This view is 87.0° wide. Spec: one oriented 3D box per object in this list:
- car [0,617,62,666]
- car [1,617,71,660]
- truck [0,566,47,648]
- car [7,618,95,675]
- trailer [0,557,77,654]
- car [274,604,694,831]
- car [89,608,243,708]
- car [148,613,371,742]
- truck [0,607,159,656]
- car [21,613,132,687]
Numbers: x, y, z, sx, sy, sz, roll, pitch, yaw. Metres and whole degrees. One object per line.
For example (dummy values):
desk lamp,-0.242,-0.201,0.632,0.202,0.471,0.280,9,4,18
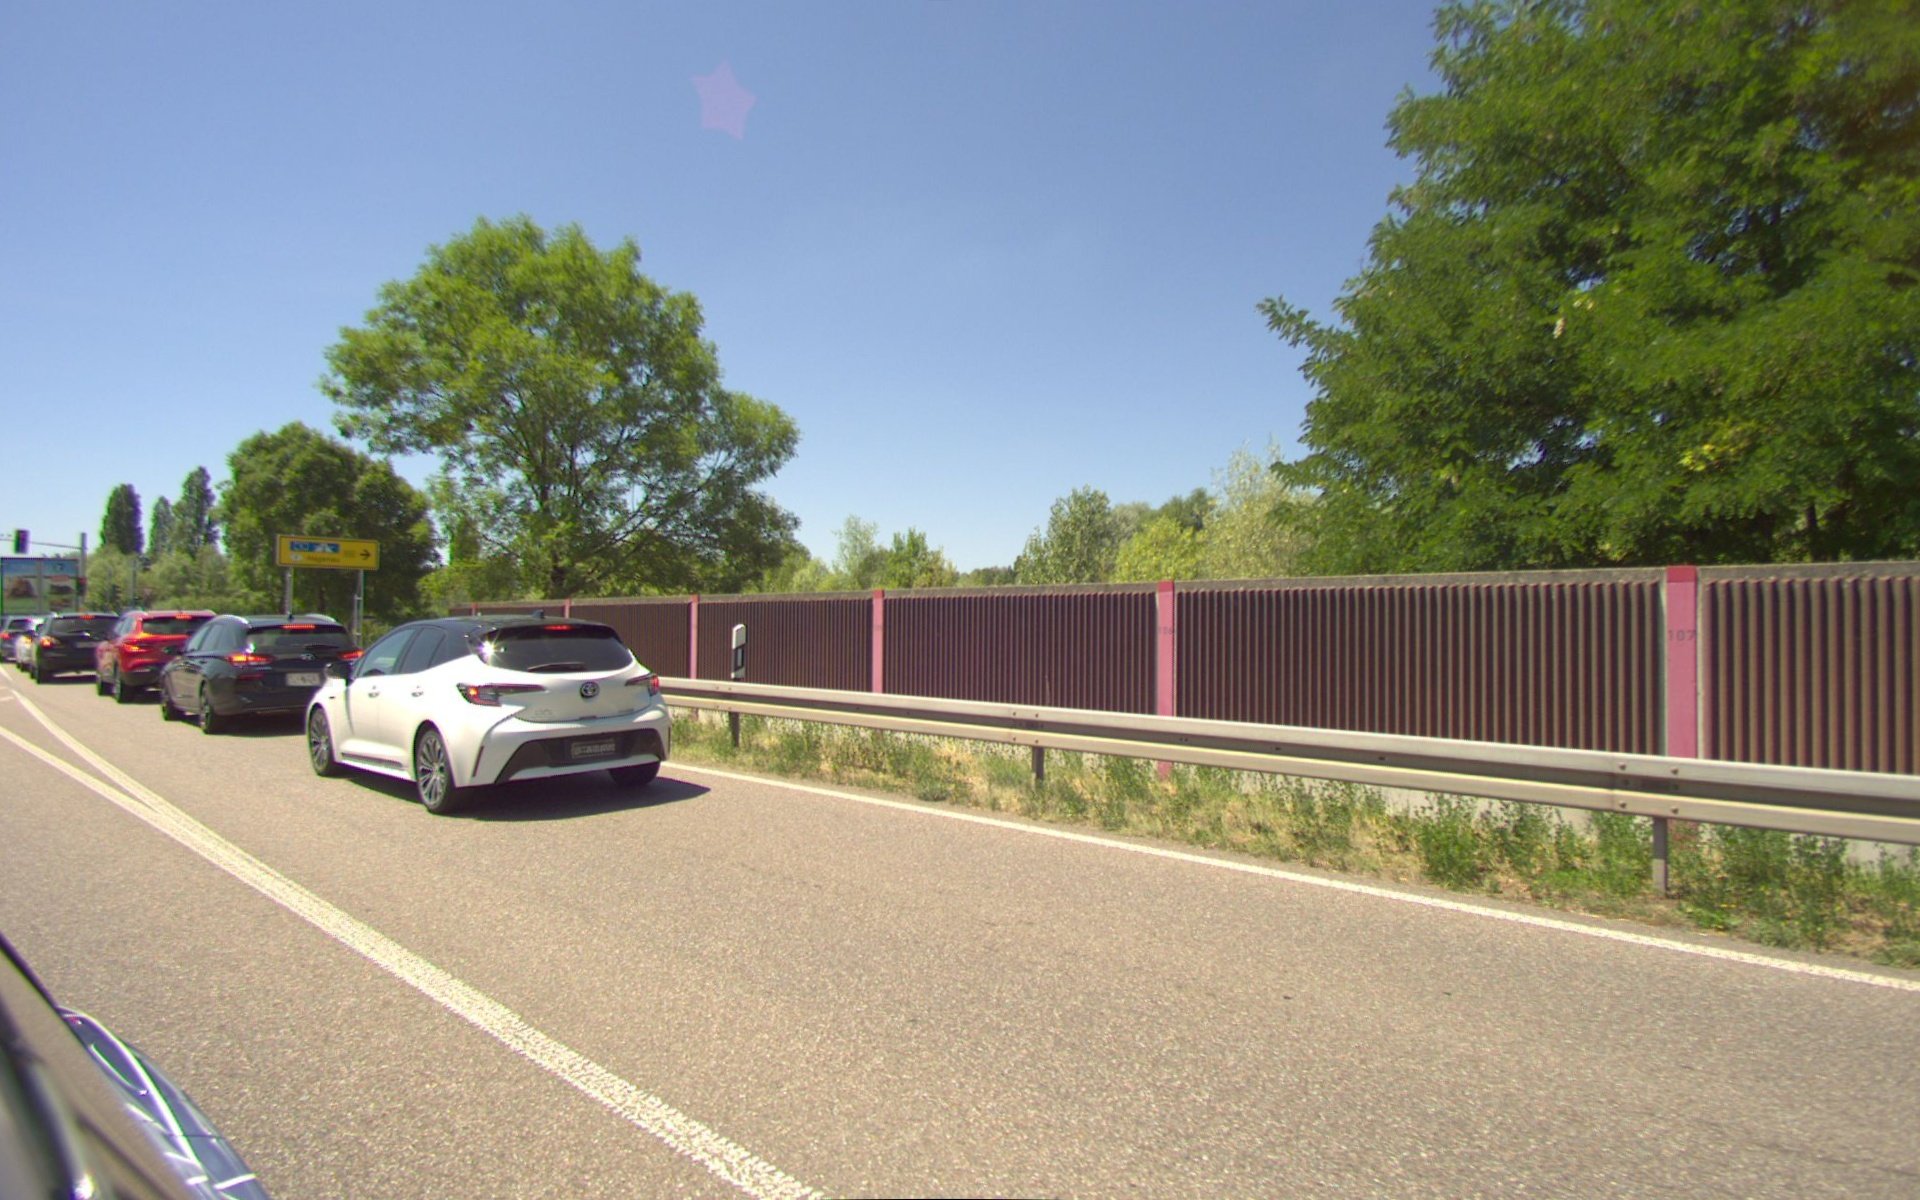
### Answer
car,-31.339,1.354,33.909,1.605,1.549,4.387,2,-3,-44
car,-36.084,1.463,39.489,4.155,1.573,1.693,-1,-1,43
truck,-49.710,0.366,52.703,5.825,4.075,2.660,-1,-1,43
car,-25.997,1.286,28.901,1.634,1.490,4.632,0,-1,-45
trailer,-44.673,0.296,48.035,14.123,4.075,2.660,-1,-1,43
car,-4.339,0.807,8.804,4.615,1.471,1.667,-1,-1,42
car,-14.911,1.009,18.928,4.280,1.644,1.736,-2,-1,44
car,-9.777,0.939,13.965,4.617,1.471,1.666,-1,-1,44
truck,-62.011,2.225,70.785,2.682,3.220,9.093,-1,-2,26
car,-21.277,1.142,24.309,4.536,1.601,1.697,-2,-1,45
